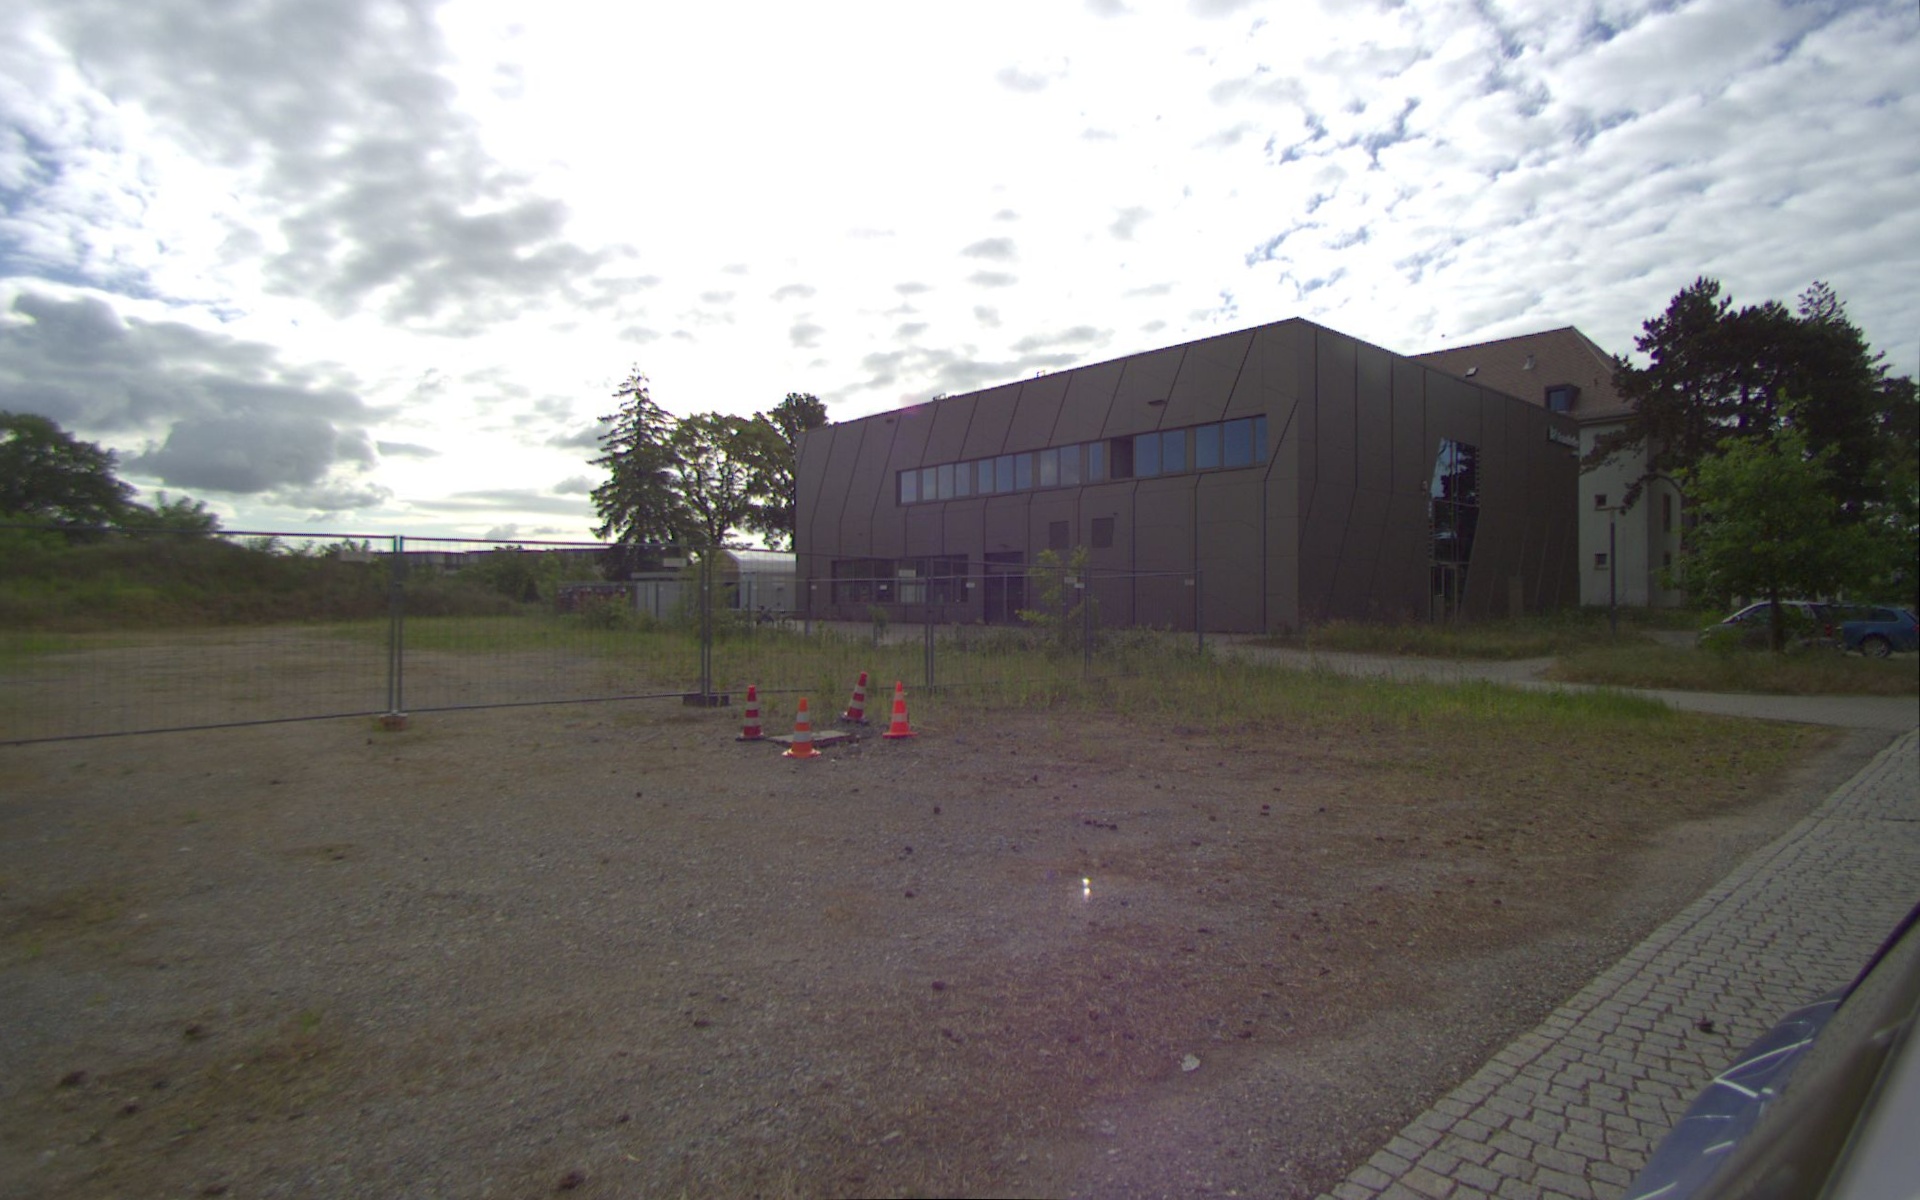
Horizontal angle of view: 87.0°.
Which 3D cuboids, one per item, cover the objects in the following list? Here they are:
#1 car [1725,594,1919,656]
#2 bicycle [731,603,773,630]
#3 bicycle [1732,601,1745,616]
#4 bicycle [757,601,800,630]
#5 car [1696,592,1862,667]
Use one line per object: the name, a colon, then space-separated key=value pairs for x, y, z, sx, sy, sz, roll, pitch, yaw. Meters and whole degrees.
car: x=24.301 y=0.637 z=28.242 sx=1.800 sy=1.493 sz=4.495 roll=0 pitch=2 yaw=-43
bicycle: x=-8.594 y=0.684 z=41.834 sx=1.624 sy=1.099 sz=0.512 roll=0 pitch=-1 yaw=-32
bicycle: x=59.460 y=0.677 z=77.281 sx=1.629 sy=1.142 sz=0.476 roll=0 pitch=-1 yaw=-43
bicycle: x=-7.186 y=0.608 z=40.052 sx=1.624 sy=1.099 sz=0.512 roll=0 pitch=-1 yaw=-32
car: x=18.916 y=0.637 z=23.431 sx=1.624 sy=1.576 sz=2.716 roll=0 pitch=1 yaw=-39
